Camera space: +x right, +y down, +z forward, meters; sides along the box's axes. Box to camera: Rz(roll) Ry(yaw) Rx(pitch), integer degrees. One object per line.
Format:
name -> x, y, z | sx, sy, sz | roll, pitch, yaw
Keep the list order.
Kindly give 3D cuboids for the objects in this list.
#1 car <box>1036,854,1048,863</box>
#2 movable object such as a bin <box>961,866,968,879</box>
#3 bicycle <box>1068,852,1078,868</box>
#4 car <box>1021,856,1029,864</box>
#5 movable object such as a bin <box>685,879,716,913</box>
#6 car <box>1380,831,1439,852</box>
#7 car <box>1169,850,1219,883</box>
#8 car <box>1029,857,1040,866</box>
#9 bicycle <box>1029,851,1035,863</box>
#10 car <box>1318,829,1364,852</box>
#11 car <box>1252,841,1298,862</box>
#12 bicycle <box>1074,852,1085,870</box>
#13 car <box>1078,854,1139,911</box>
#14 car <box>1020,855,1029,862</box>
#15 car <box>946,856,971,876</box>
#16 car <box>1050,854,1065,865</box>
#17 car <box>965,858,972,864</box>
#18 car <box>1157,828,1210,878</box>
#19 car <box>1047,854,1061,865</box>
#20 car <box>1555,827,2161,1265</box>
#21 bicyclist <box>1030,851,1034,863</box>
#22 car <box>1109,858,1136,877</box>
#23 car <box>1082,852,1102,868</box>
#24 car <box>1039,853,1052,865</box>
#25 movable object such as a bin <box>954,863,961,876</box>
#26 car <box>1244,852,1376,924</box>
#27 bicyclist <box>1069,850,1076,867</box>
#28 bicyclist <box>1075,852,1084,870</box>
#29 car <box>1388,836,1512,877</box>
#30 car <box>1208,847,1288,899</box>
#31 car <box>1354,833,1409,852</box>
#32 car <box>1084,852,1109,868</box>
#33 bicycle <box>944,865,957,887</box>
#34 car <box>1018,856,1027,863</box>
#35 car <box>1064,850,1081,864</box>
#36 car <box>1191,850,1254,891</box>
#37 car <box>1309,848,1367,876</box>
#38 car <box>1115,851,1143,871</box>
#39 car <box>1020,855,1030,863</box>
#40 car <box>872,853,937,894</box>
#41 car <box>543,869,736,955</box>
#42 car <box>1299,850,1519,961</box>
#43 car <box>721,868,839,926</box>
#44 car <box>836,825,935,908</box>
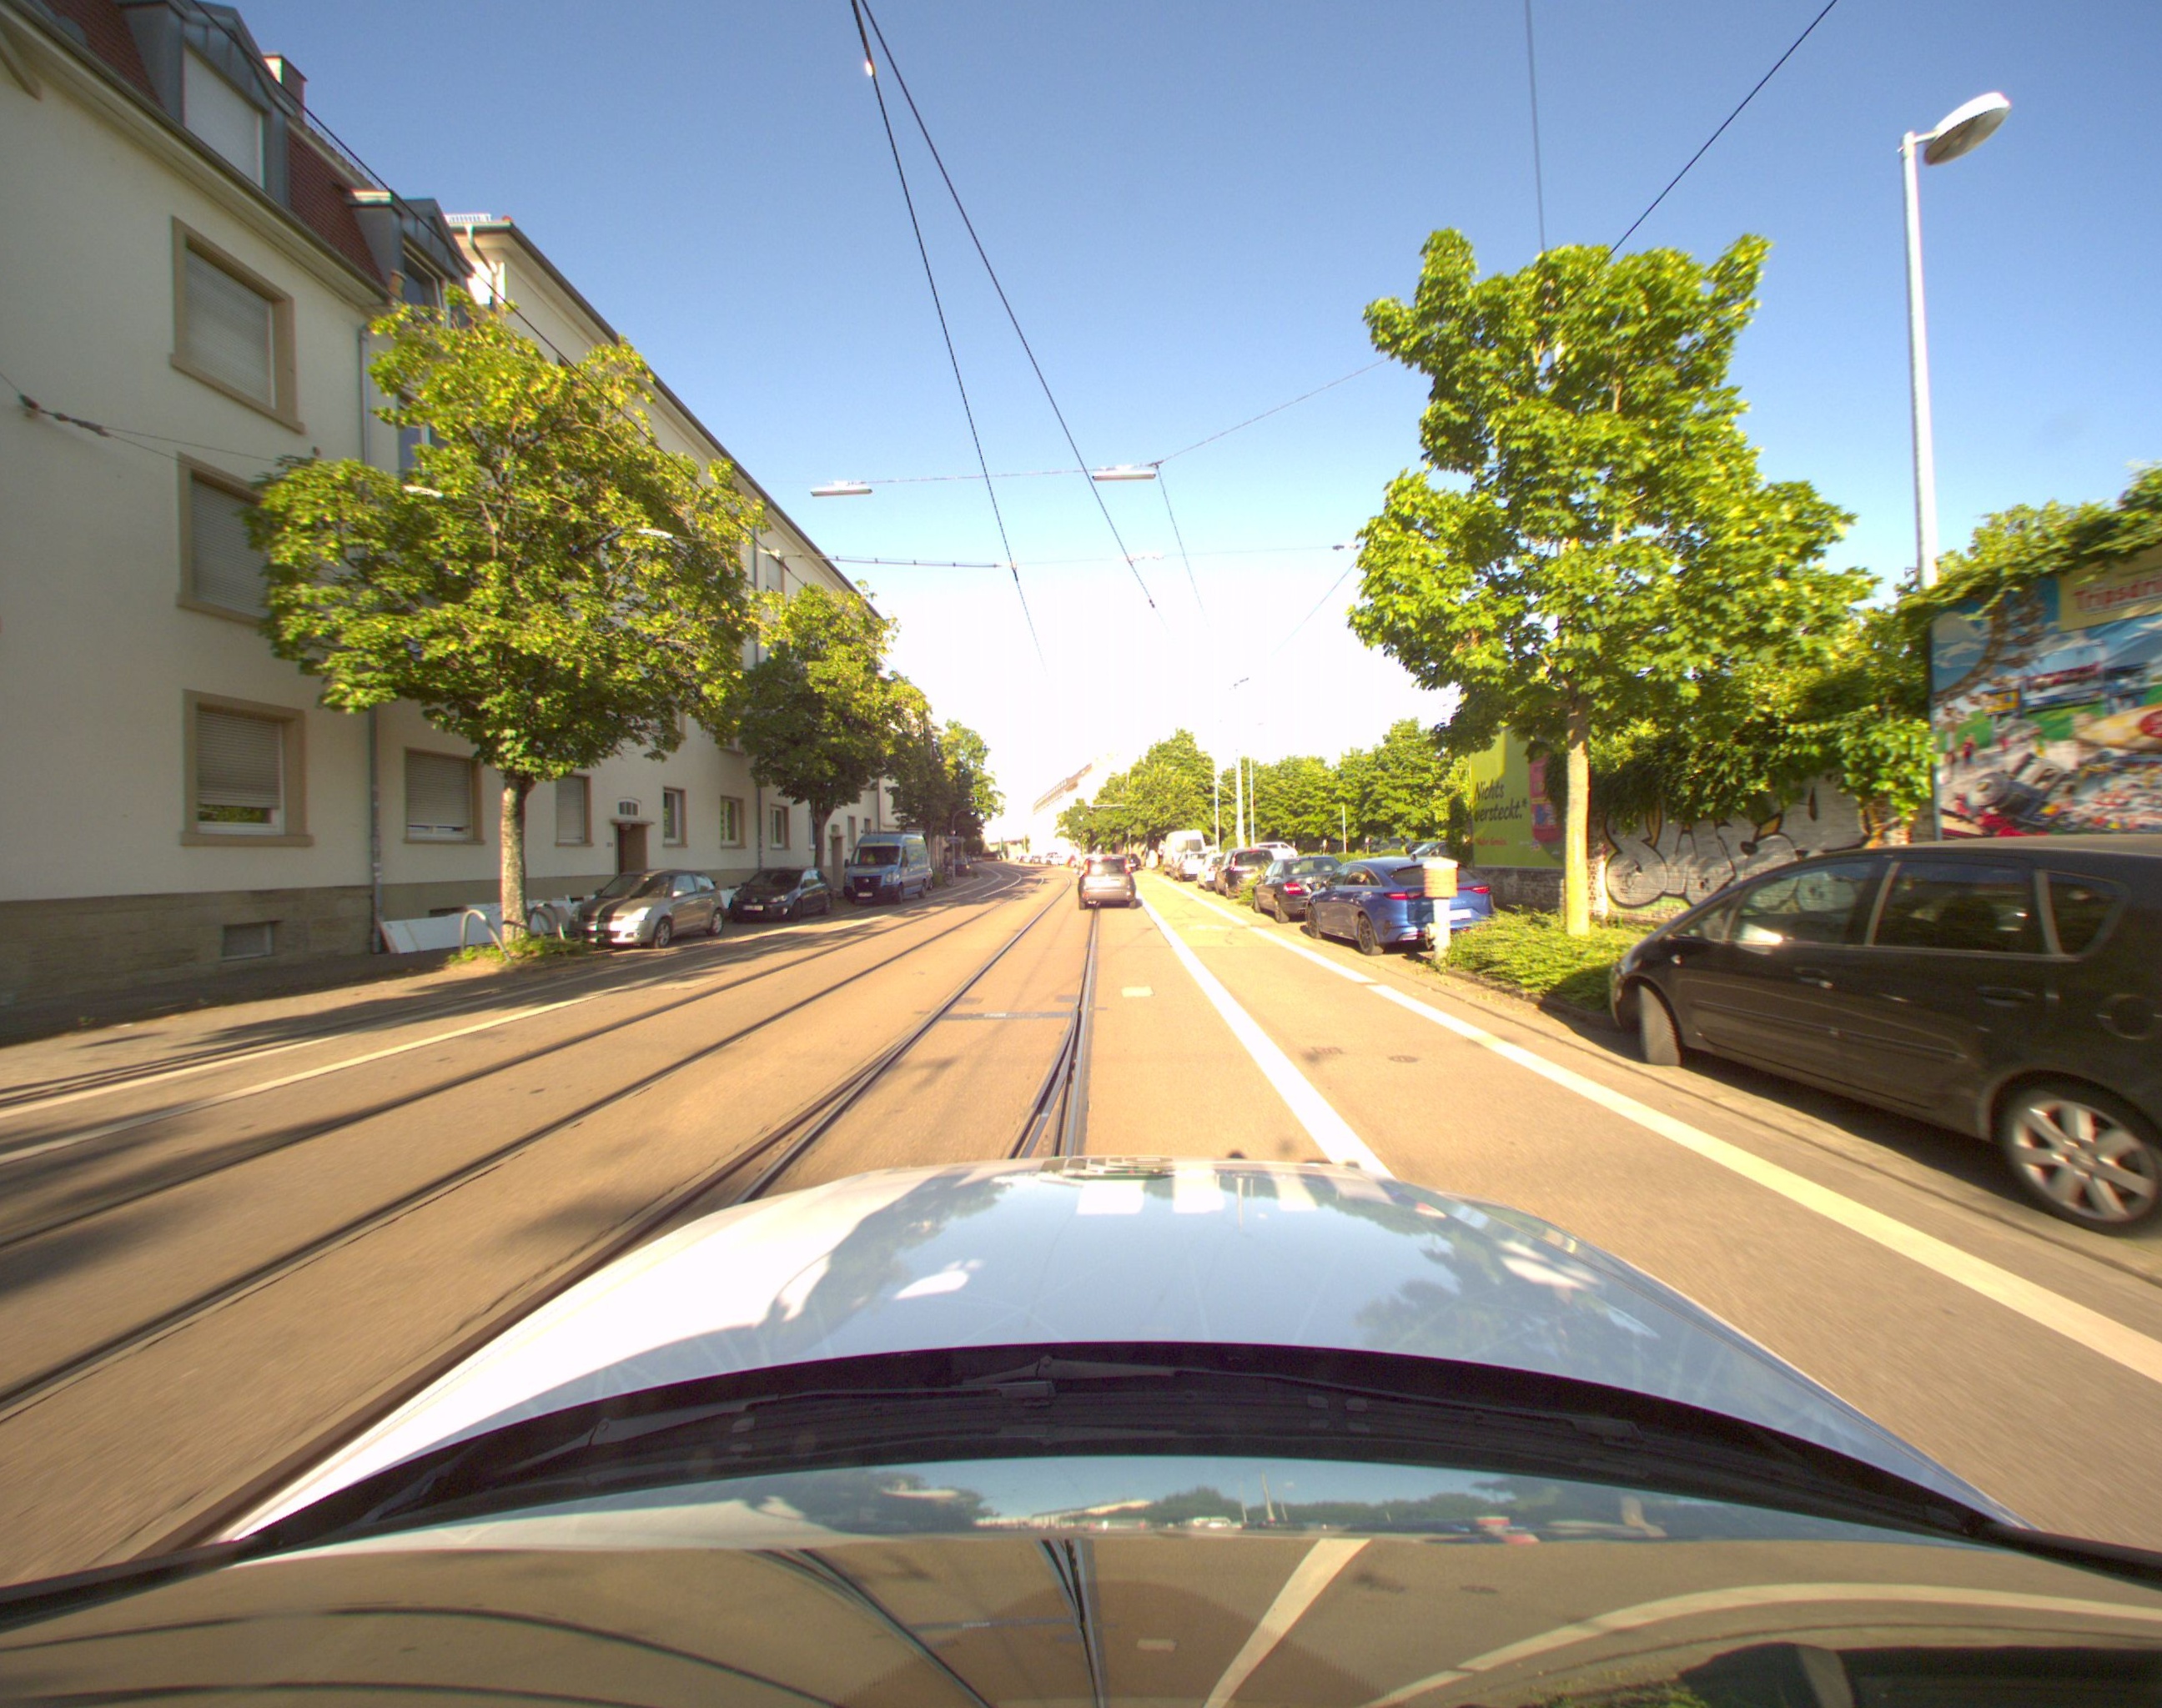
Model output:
car -> -6.563, 0.793, 137.481 | 1.655, 1.500, 3.120 | -1, 0, -9
movable object such as a bin -> -8.535, 1.358, 59.862 | 0.484, 0.987, 0.658 | -1, 0, -6
bicycle -> -0.891, 0.642, 89.288 | 0.675, 1.747, 2.151 | -1, 0, -9
car -> -12.256, 1.260, 177.947 | 1.583, 1.599, 3.365 | -1, 0, -9
movable object such as a bin -> -11.129, 1.232, 23.842 | 0.594, 0.934, 0.568 | -2, 0, -1
car -> 30.365, -1.149, 75.285 | 4.678, 1.816, 1.957 | -1, 0, -7
car -> 5.709, 0.600, 41.649 | 1.904, 1.529, 4.601 | -2, 0, 1
car -> -8.437, 1.370, 147.138 | 1.583, 1.405, 3.365 | -5, 0, -9
bicycle -> -8.216, 0.546, 136.884 | 0.741, 2.014, 2.802 | -1, 0, -9
car -> 27.963, -1.459, 87.769 | 4.189, 2.241, 2.135 | -2, 0, -11
car -> 20.324, -0.267, 85.498 | 4.272, 2.013, 1.771 | -3, 0, -5
bicycle -> -0.135, 0.703, 80.035 | 0.675, 1.747, 2.151 | -1, 0, -9
car -> 0.791, 0.764, 24.061 | 1.644, 1.541, 4.236 | 0, 0, 1
car -> -11.917, 0.958, 171.324 | 1.583, 1.599, 3.365 | -1, 0, -9
car -> -9.738, 0.930, 65.117 | 1.686, 1.530, 3.993 | -1, 0, -5
car -> -3.389, 0.829, 117.180 | 1.655, 1.571, 3.488 | -1, 0, -9
car -> -28.077, 1.820, 203.896 | 1.705, 1.497, 3.712 | -1, 0, -8
car -> 5.986, -0.049, 48.333 | 2.173, 2.665, 6.090 | -4, 0, 0
car -> -4.006, 0.770, 121.421 | 1.655, 1.571, 3.864 | -1, 0, -9
car -> 4.717, 0.668, 4.569 | 1.818, 1.492, 3.814 | -4, 0, 0
bicyclist -> -8.233, 0.486, 137.014 | 0.715, 2.014, 0.829 | -1, -1, -10
car -> 3.639, 1.204, 72.135 | 1.686, 1.530, 4.347 | -3, 0, -5
car -> 1.207, 0.636, 88.511 | 1.686, 1.530, 3.992 | -3, 0, -5
car -> -5.822, 0.816, 132.691 | 1.655, 1.944, 4.650 | -1, 0, -9
movable object such as a bin -> -9.060, 1.146, 59.787 | 0.484, 0.987, 0.658 | -1, 0, -6
car -> 5.153, 0.704, 18.953 | 1.723, 1.464, 4.496 | -1, 0, -1
bicyclist -> -0.926, 0.495, 89.390 | 0.699, 1.759, 0.755 | -1, -1, -10
bicyclist -> -0.131, 0.686, 80.004 | 0.699, 1.759, 0.755 | -1, -1, -10
car -> 13.179, 0.092, 29.230 | 3.690, 1.400, 1.759 | -1, 0, 0
car -> 5.563, 0.595, 27.640 | 1.723, 1.604, 4.340 | -1, 0, -1
car -> 29.322, -1.144, 79.527 | 4.678, 1.816, 1.957 | -1, 0, -7
car -> 1.592, 0.626, 84.046 | 1.690, 1.530, 3.985 | -3, 0, -11
bicycle -> -7.116, 1.176, 44.422 | 0.511, 1.134, 2.027 | -1, 0, -5
car -> -13.235, 1.294, 183.705 | 1.583, 1.599, 3.365 | -1, 0, -9
car -> -1.066, 0.385, 99.067 | 1.634, 1.508, 3.387 | -4, 0, -8
car -> 5.550, 0.622, 32.428 | 1.723, 1.512, 4.249 | -1, 0, -1
car -> 9.859, 0.304, 31.390 | 1.304, 1.033, 3.056 | -1, 0, 0
car -> 3.918, 0.551, 67.641 | 1.686, 1.530, 3.992 | -3, 0, -5
car -> -11.323, 1.089, 165.025 | 1.583, 1.599, 3.365 | -1, 0, -9
car -> -8.182, 0.860, 38.186 | 1.785, 1.560, 4.643 | 8, 0, 1
car -> -8.826, 1.083, 16.707 | 1.645, 1.491, 4.002 | -1, 0, 2
car -> 4.999, 0.703, 13.114 | 1.723, 1.464, 4.339 | -1, 0, -1
car -> -8.366, 1.148, 23.019 | 1.645, 1.425, 4.191 | -1, 0, 2
car -> -7.281, 0.450, 31.061 | 2.009, 2.826, 6.036 | -1, 0, 3
